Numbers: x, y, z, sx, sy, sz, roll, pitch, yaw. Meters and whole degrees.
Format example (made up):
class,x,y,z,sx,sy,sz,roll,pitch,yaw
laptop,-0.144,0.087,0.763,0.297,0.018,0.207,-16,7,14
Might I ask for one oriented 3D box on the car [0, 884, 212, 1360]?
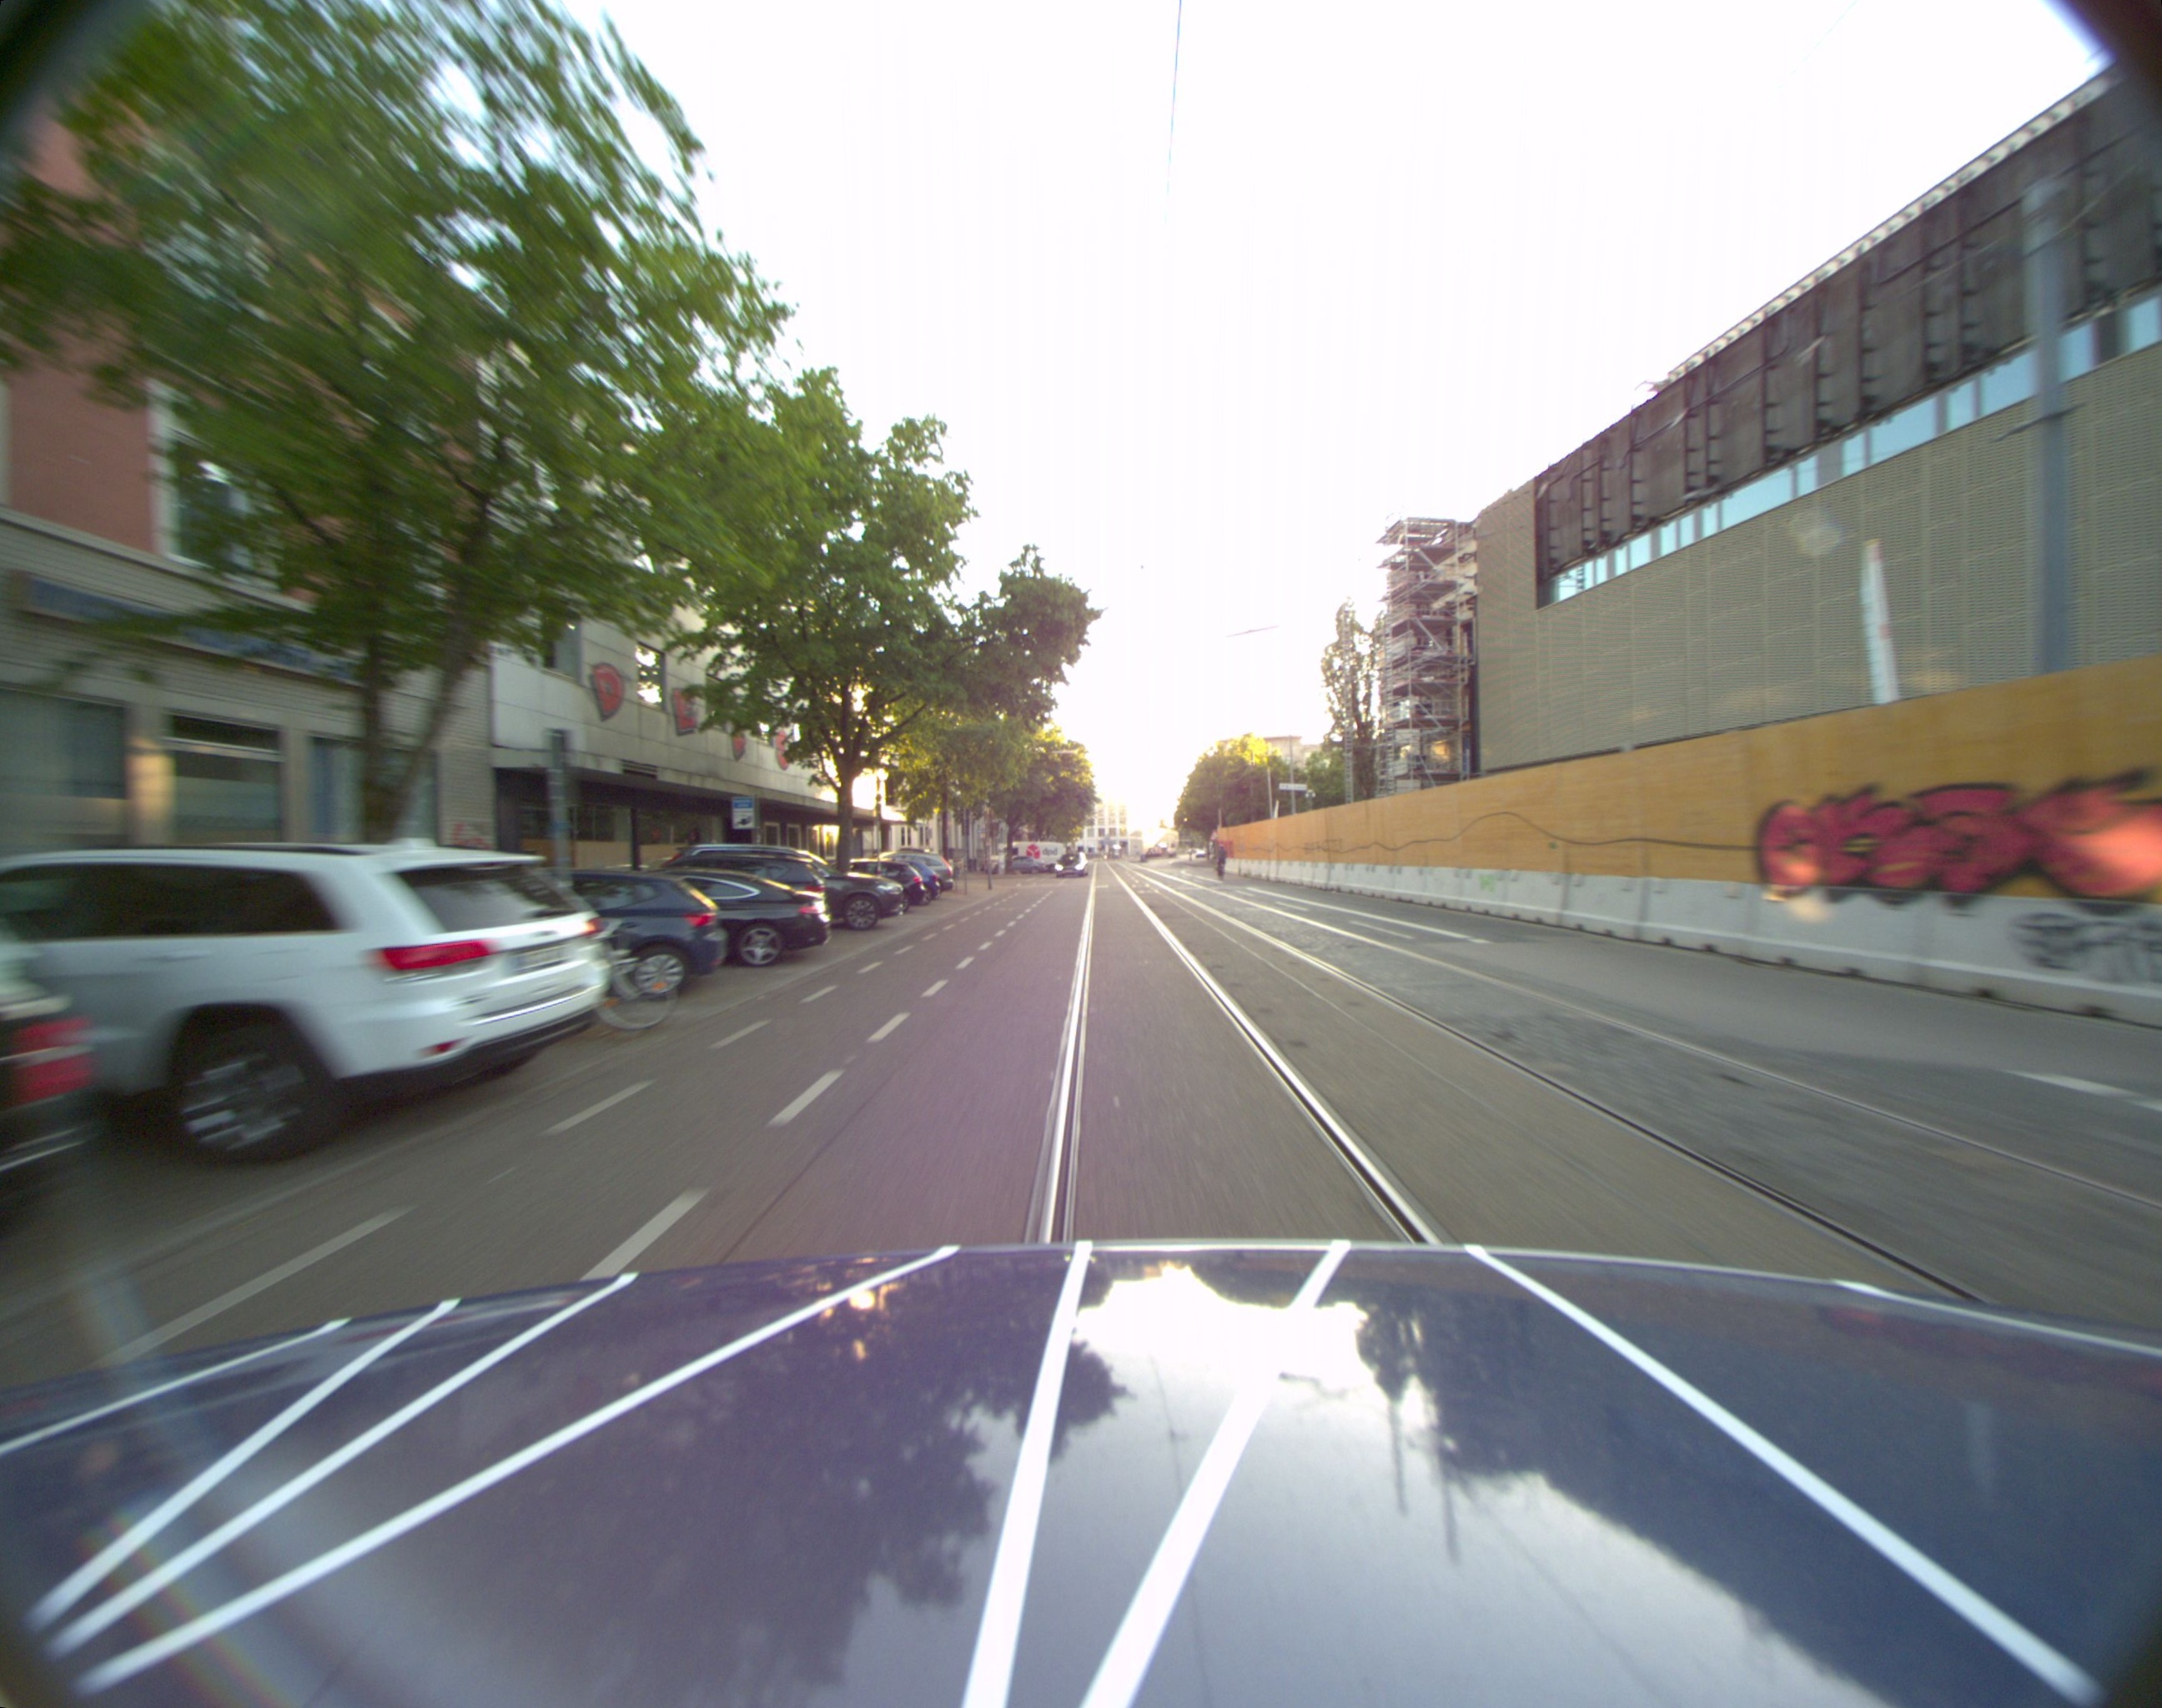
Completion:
class,x,y,z,sx,sy,sz,roll,pitch,yaw
car,-6.204,0.949,2.283,4.662,1.678,2.007,1,0,-4

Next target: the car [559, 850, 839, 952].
class,x,y,z,sx,sy,sz,roll,pitch,yaw
car,-6.662,0.799,13.810,4.229,1.639,1.973,1,0,-17

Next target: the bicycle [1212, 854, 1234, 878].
class,x,y,z,sx,sy,sz,roll,pitch,yaw
bicycle,7.457,0.628,39.971,0.770,1.221,1.936,-1,0,1

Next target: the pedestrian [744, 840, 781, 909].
class,x,y,z,sx,sy,sz,roll,pitch,yaw
pedestrian,-9.285,0.587,22.168,0.693,1.974,0.786,1,1,1

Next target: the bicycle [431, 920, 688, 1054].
class,x,y,z,sx,sy,sz,roll,pitch,yaw
bicycle,-4.650,1.179,6.884,1.842,1.096,0.497,2,0,-12

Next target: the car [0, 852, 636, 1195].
class,x,y,z,sx,sy,sz,roll,pitch,yaw
car,-5.812,0.868,4.916,4.660,1.678,2.008,1,0,0

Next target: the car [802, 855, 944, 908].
class,x,y,z,sx,sy,sz,roll,pitch,yaw
car,-6.464,0.826,23.643,3.901,1.493,1.809,1,0,-29

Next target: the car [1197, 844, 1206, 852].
class,x,y,z,sx,sy,sz,roll,pitch,yaw
car,27.173,-1.283,171.205,1.997,1.674,4.003,-2,1,11

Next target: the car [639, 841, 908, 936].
class,x,y,z,sx,sy,sz,roll,pitch,yaw
car,-6.355,0.708,16.294,4.984,1.816,2.204,1,0,-17

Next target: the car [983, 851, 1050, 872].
class,x,y,z,sx,sy,sz,roll,pitch,yaw
car,-4.829,0.557,56.733,4.614,1.504,1.859,1,-1,-25

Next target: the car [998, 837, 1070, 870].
class,x,y,z,sx,sy,sz,roll,pitch,yaw
car,-3.893,-0.066,63.222,5.650,2.678,2.166,-1,0,-33

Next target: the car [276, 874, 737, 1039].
class,x,y,z,sx,sy,sz,roll,pitch,yaw
car,-6.024,0.981,8.516,3.766,1.418,1.723,1,0,-30

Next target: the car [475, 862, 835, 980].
class,x,y,z,sx,sy,sz,roll,pitch,yaw
car,-5.994,0.897,11.197,4.232,1.418,1.971,2,0,-26

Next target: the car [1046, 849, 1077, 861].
class,x,y,z,sx,sy,sz,roll,pitch,yaw
car,-2.848,0.085,111.684,4.217,1.600,1.740,-2,1,-27

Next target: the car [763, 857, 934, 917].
class,x,y,z,sx,sy,sz,roll,pitch,yaw
car,-6.346,0.873,20.773,4.174,1.456,1.967,1,0,-26

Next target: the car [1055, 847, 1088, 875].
class,x,y,z,sx,sy,sz,roll,pitch,yaw
car,-0.603,0.456,49.639,1.840,1.631,4.169,-5,0,2

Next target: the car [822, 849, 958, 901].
class,x,y,z,sx,sy,sz,roll,pitch,yaw
car,-6.586,0.707,26.336,4.176,1.654,1.837,1,0,-33

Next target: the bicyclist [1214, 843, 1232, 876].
class,x,y,z,sx,sy,sz,roll,pitch,yaw
bicyclist,7.454,0.287,39.956,0.770,1.656,1.018,-1,1,1
